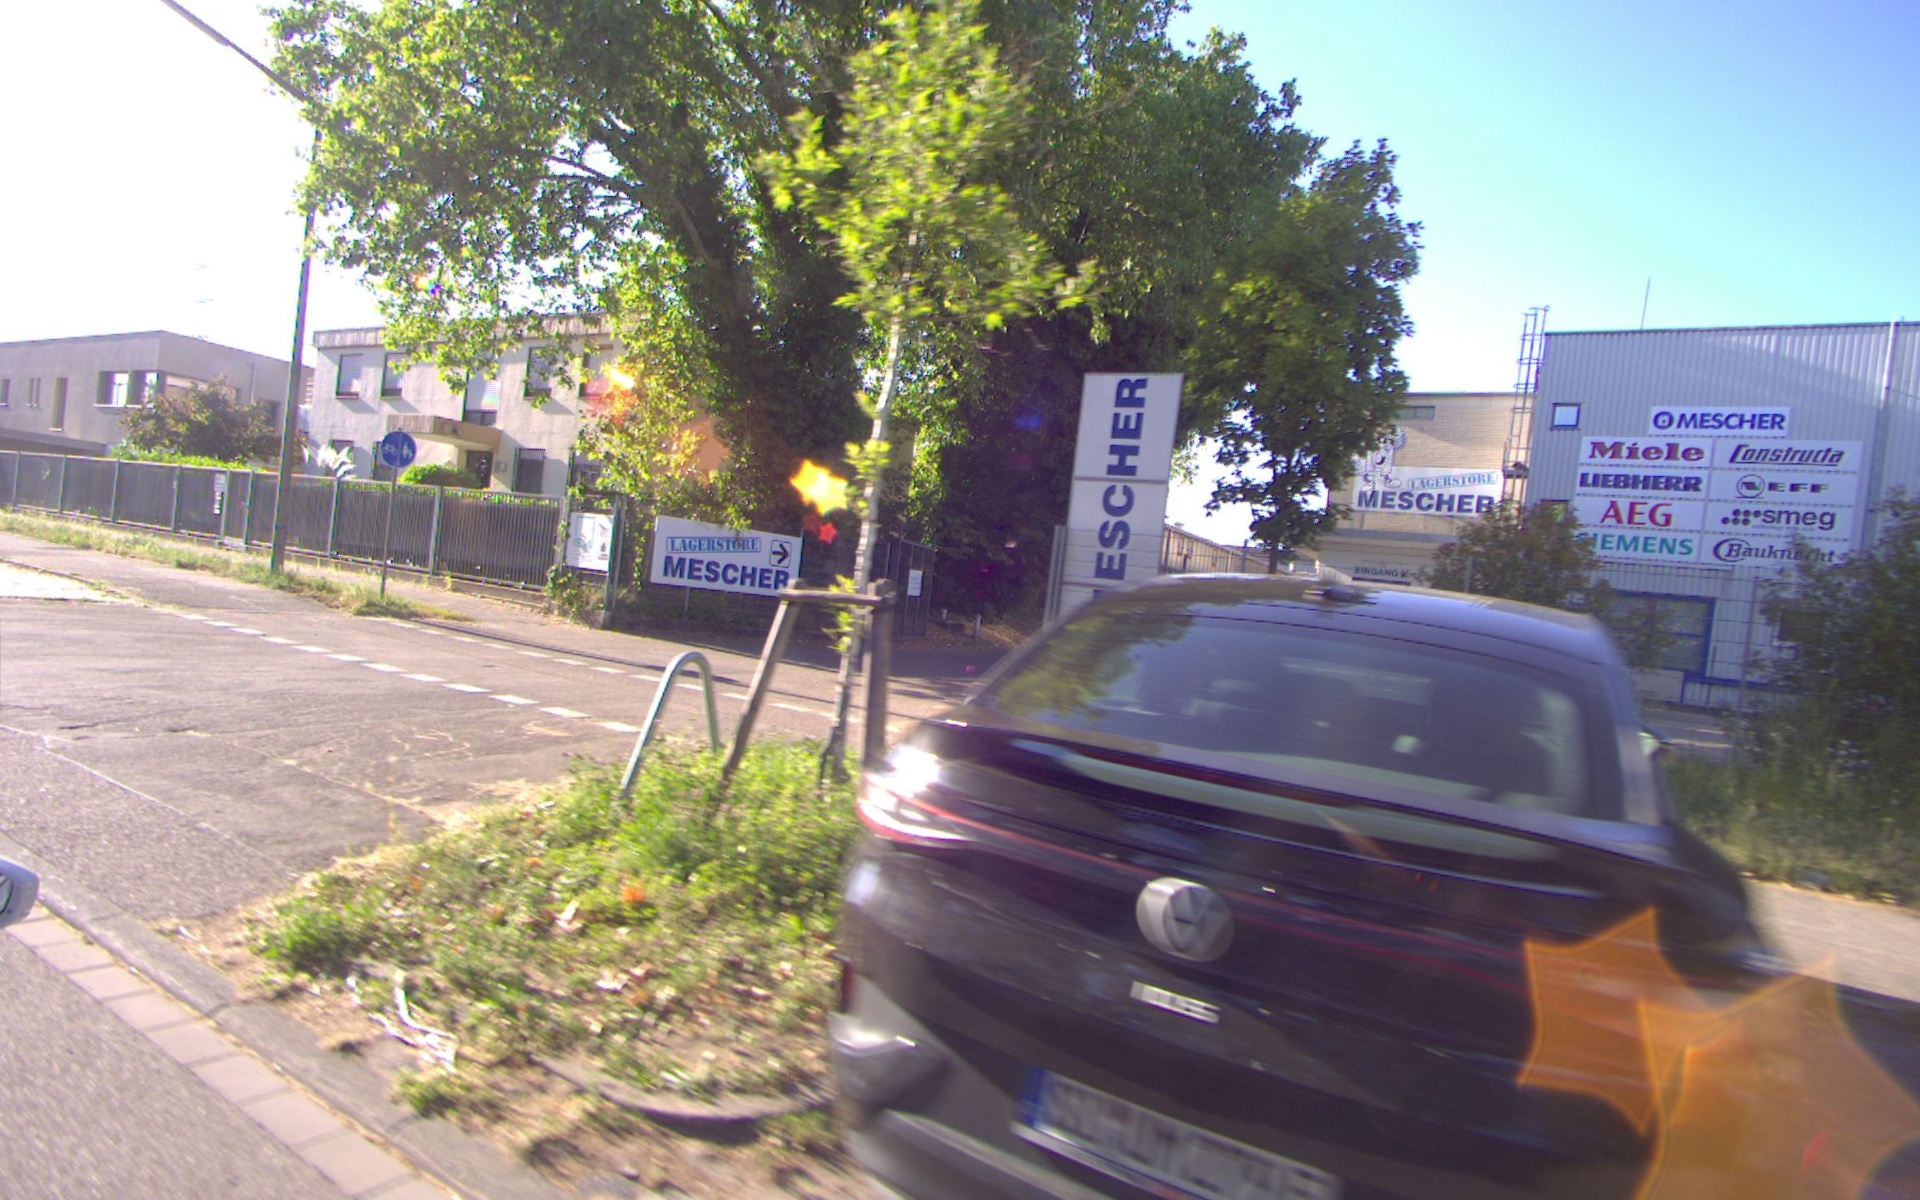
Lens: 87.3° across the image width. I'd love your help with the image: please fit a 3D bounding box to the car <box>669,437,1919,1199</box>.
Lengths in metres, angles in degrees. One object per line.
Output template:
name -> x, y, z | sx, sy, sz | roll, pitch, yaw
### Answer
car -> 1.378, 0.679, 3.522 | 1.909, 1.739, 4.572 | 7, 3, 28
